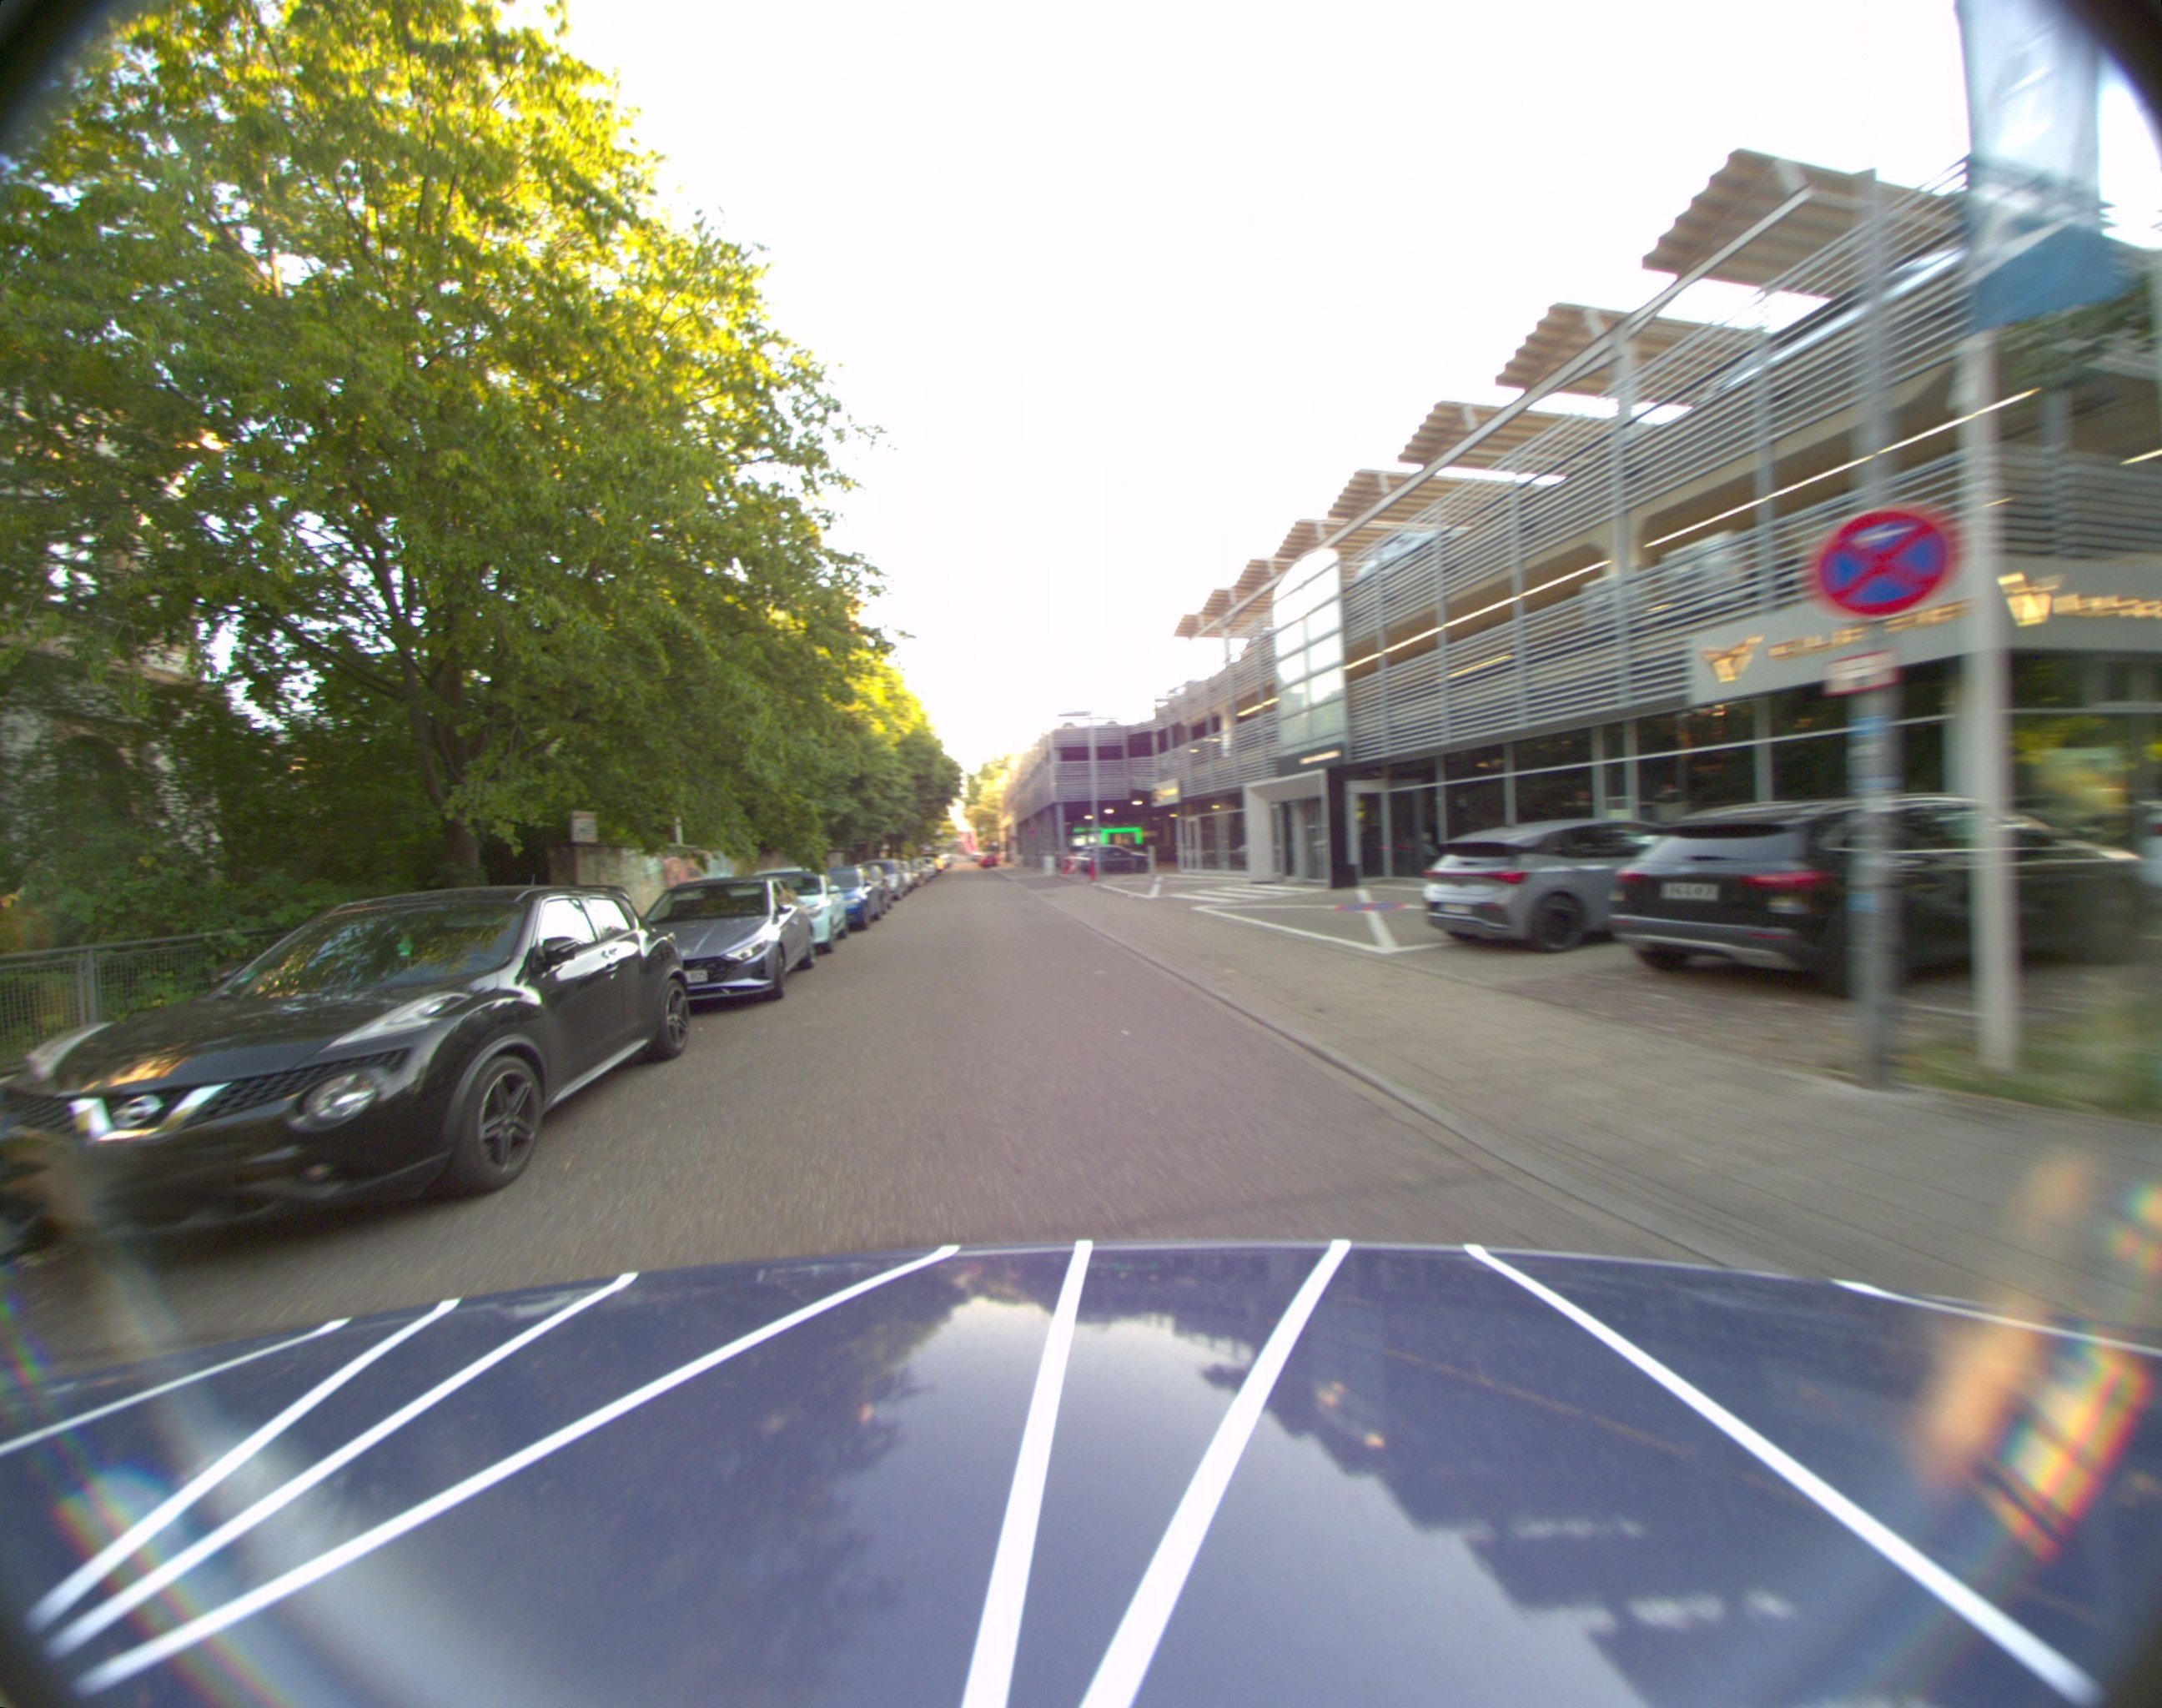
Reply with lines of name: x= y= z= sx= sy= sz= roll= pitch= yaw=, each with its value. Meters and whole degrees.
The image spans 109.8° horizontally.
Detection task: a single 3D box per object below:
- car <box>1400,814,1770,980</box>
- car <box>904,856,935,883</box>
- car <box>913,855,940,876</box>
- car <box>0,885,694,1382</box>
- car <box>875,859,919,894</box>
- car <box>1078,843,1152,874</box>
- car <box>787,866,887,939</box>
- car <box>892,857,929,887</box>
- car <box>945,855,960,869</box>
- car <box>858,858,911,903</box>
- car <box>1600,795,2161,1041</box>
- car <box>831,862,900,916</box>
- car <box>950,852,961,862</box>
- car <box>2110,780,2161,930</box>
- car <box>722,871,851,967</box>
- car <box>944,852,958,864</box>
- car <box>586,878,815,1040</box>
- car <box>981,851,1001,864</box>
car: x=6.306 y=0.475 z=9.701 sx=3.693 sy=1.582 sz=1.705 roll=-5 pitch=1 yaw=-10
car: x=-9.737 y=0.915 z=46.048 sx=1.633 sy=1.446 sz=3.762 roll=-2 pitch=1 yaw=-9
car: x=-11.410 y=0.815 z=56.256 sx=1.633 sy=1.446 sz=3.763 roll=-2 pitch=1 yaw=-7
car: x=-3.973 y=1.108 z=4.722 sx=1.633 sy=1.536 sz=3.939 roll=-4 pitch=1 yaw=-10
car: x=-8.512 y=1.015 z=35.400 sx=1.633 sy=1.446 sz=3.762 roll=-2 pitch=1 yaw=-9
car: x=1.891 y=0.243 z=43.221 sx=3.927 sy=1.559 sz=1.631 roll=-2 pitch=1 yaw=-10
car: x=-5.824 y=1.087 z=18.571 sx=1.633 sy=1.426 sz=4.125 roll=-2 pitch=1 yaw=-9
car: x=-9.195 y=0.961 z=41.165 sx=1.633 sy=1.446 sz=3.762 roll=-2 pitch=1 yaw=-9
car: x=-14.724 y=0.891 z=87.227 sx=1.633 sy=1.446 sz=3.762 roll=-2 pitch=1 yaw=-9
car: x=-7.776 y=0.989 z=30.343 sx=1.633 sy=1.558 sz=4.125 roll=-2 pitch=1 yaw=-9
car: x=7.171 y=0.438 z=6.838 sx=4.128 sy=1.596 sz=1.716 roll=-4 pitch=1 yaw=-13
car: x=-6.680 y=1.022 z=23.880 sx=1.633 sy=1.426 sz=4.125 roll=-2 pitch=1 yaw=-10
car: x=-18.501 y=0.404 z=112.114 sx=1.633 sy=1.446 sz=3.762 roll=-2 pitch=1 yaw=-9
car: x=13.189 y=-0.040 z=6.646 sx=1.873 sy=1.634 sz=4.586 roll=-3 pitch=0 yaw=-14
car: x=-5.362 y=1.090 z=14.261 sx=1.633 sy=1.426 sz=3.682 roll=-2 pitch=0 yaw=-12
car: x=-16.606 y=0.542 z=96.959 sx=1.633 sy=1.446 sz=3.762 roll=-2 pitch=1 yaw=-9
car: x=-4.504 y=1.115 z=9.614 sx=1.633 sy=1.426 sz=3.780 roll=-2 pitch=1 yaw=-12
car: x=-9.823 y=0.355 z=82.539 sx=1.877 sy=1.279 sz=3.397 roll=-2 pitch=1 yaw=-12
